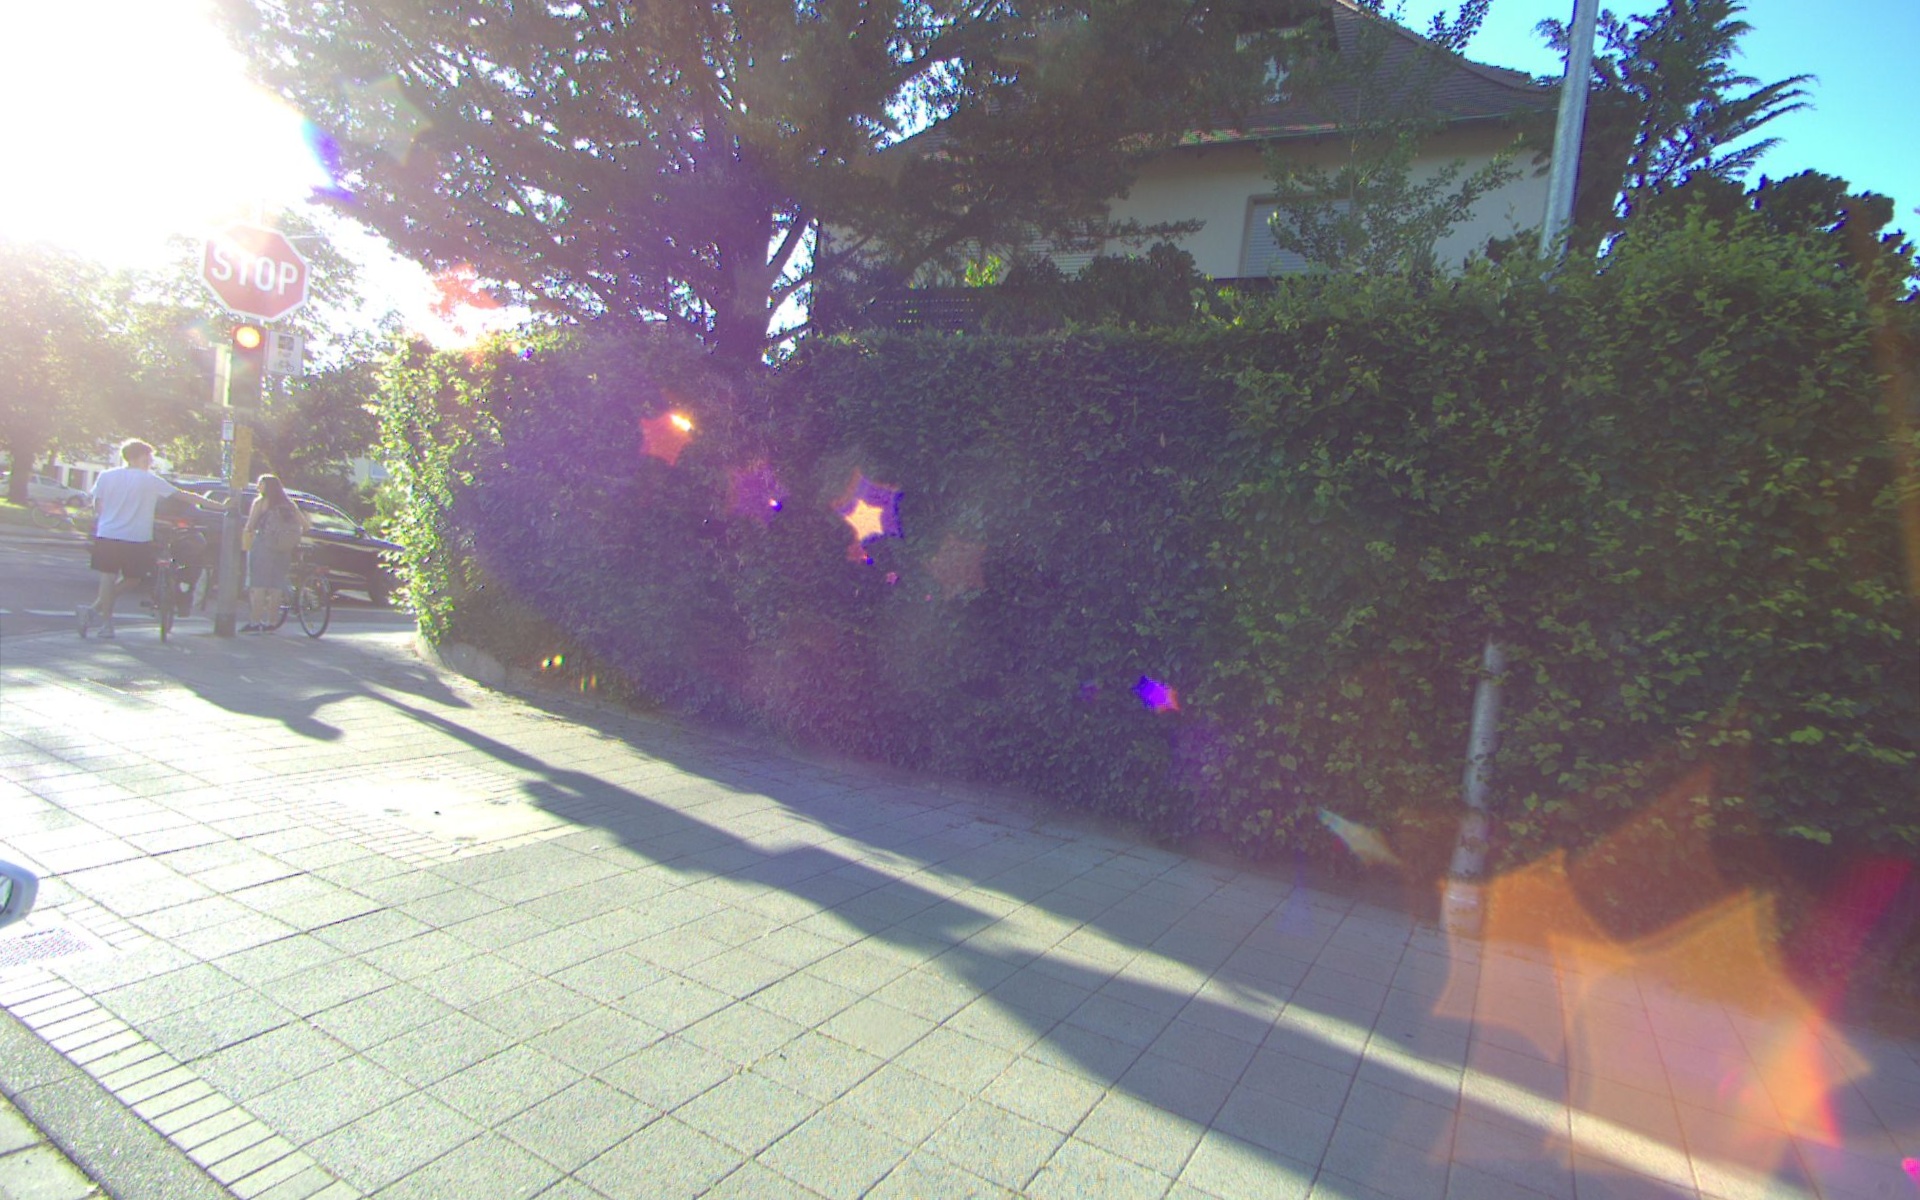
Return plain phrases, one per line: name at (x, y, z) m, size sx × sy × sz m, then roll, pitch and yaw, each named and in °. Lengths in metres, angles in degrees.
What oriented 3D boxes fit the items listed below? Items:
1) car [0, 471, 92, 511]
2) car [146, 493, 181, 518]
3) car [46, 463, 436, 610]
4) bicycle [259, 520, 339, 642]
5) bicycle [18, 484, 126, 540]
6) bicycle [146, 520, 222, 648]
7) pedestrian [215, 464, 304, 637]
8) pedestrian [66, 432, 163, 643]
car at (-46.389, -5.500, 50.544) m, size 1.569 × 1.445 × 3.854 m, roll 7°, pitch 0°, yaw 26°
car at (-55.284, -6.546, 69.877) m, size 1.654 × 1.435 × 3.507 m, roll 7°, pitch 1°, yaw -36°
car at (-10.786, -0.853, 15.571) m, size 1.845 × 1.685 × 4.560 m, roll 7°, pitch 1°, yaw 21°
bicycle at (-7.138, -0.232, 10.833) m, size 0.484 × 1.158 × 1.579 m, roll 3°, pitch 4°, yaw -40°
bicycle at (-23.200, -2.289, 26.316) m, size 0.609 × 1.146 × 1.956 m, roll 8°, pitch 1°, yaw 32°
bicycle at (-7.609, -0.191, 9.834) m, size 0.484 × 1.112 × 1.770 m, roll 3°, pitch 3°, yaw -40°
pedestrian at (-7.347, -0.514, 10.544) m, size 0.665 × 1.733 × 0.615 m, roll 2°, pitch 6°, yaw -40°
pedestrian at (-8.037, -0.582, 9.597) m, size 0.666 × 1.892 × 0.872 m, roll -1°, pitch 5°, yaw -39°
